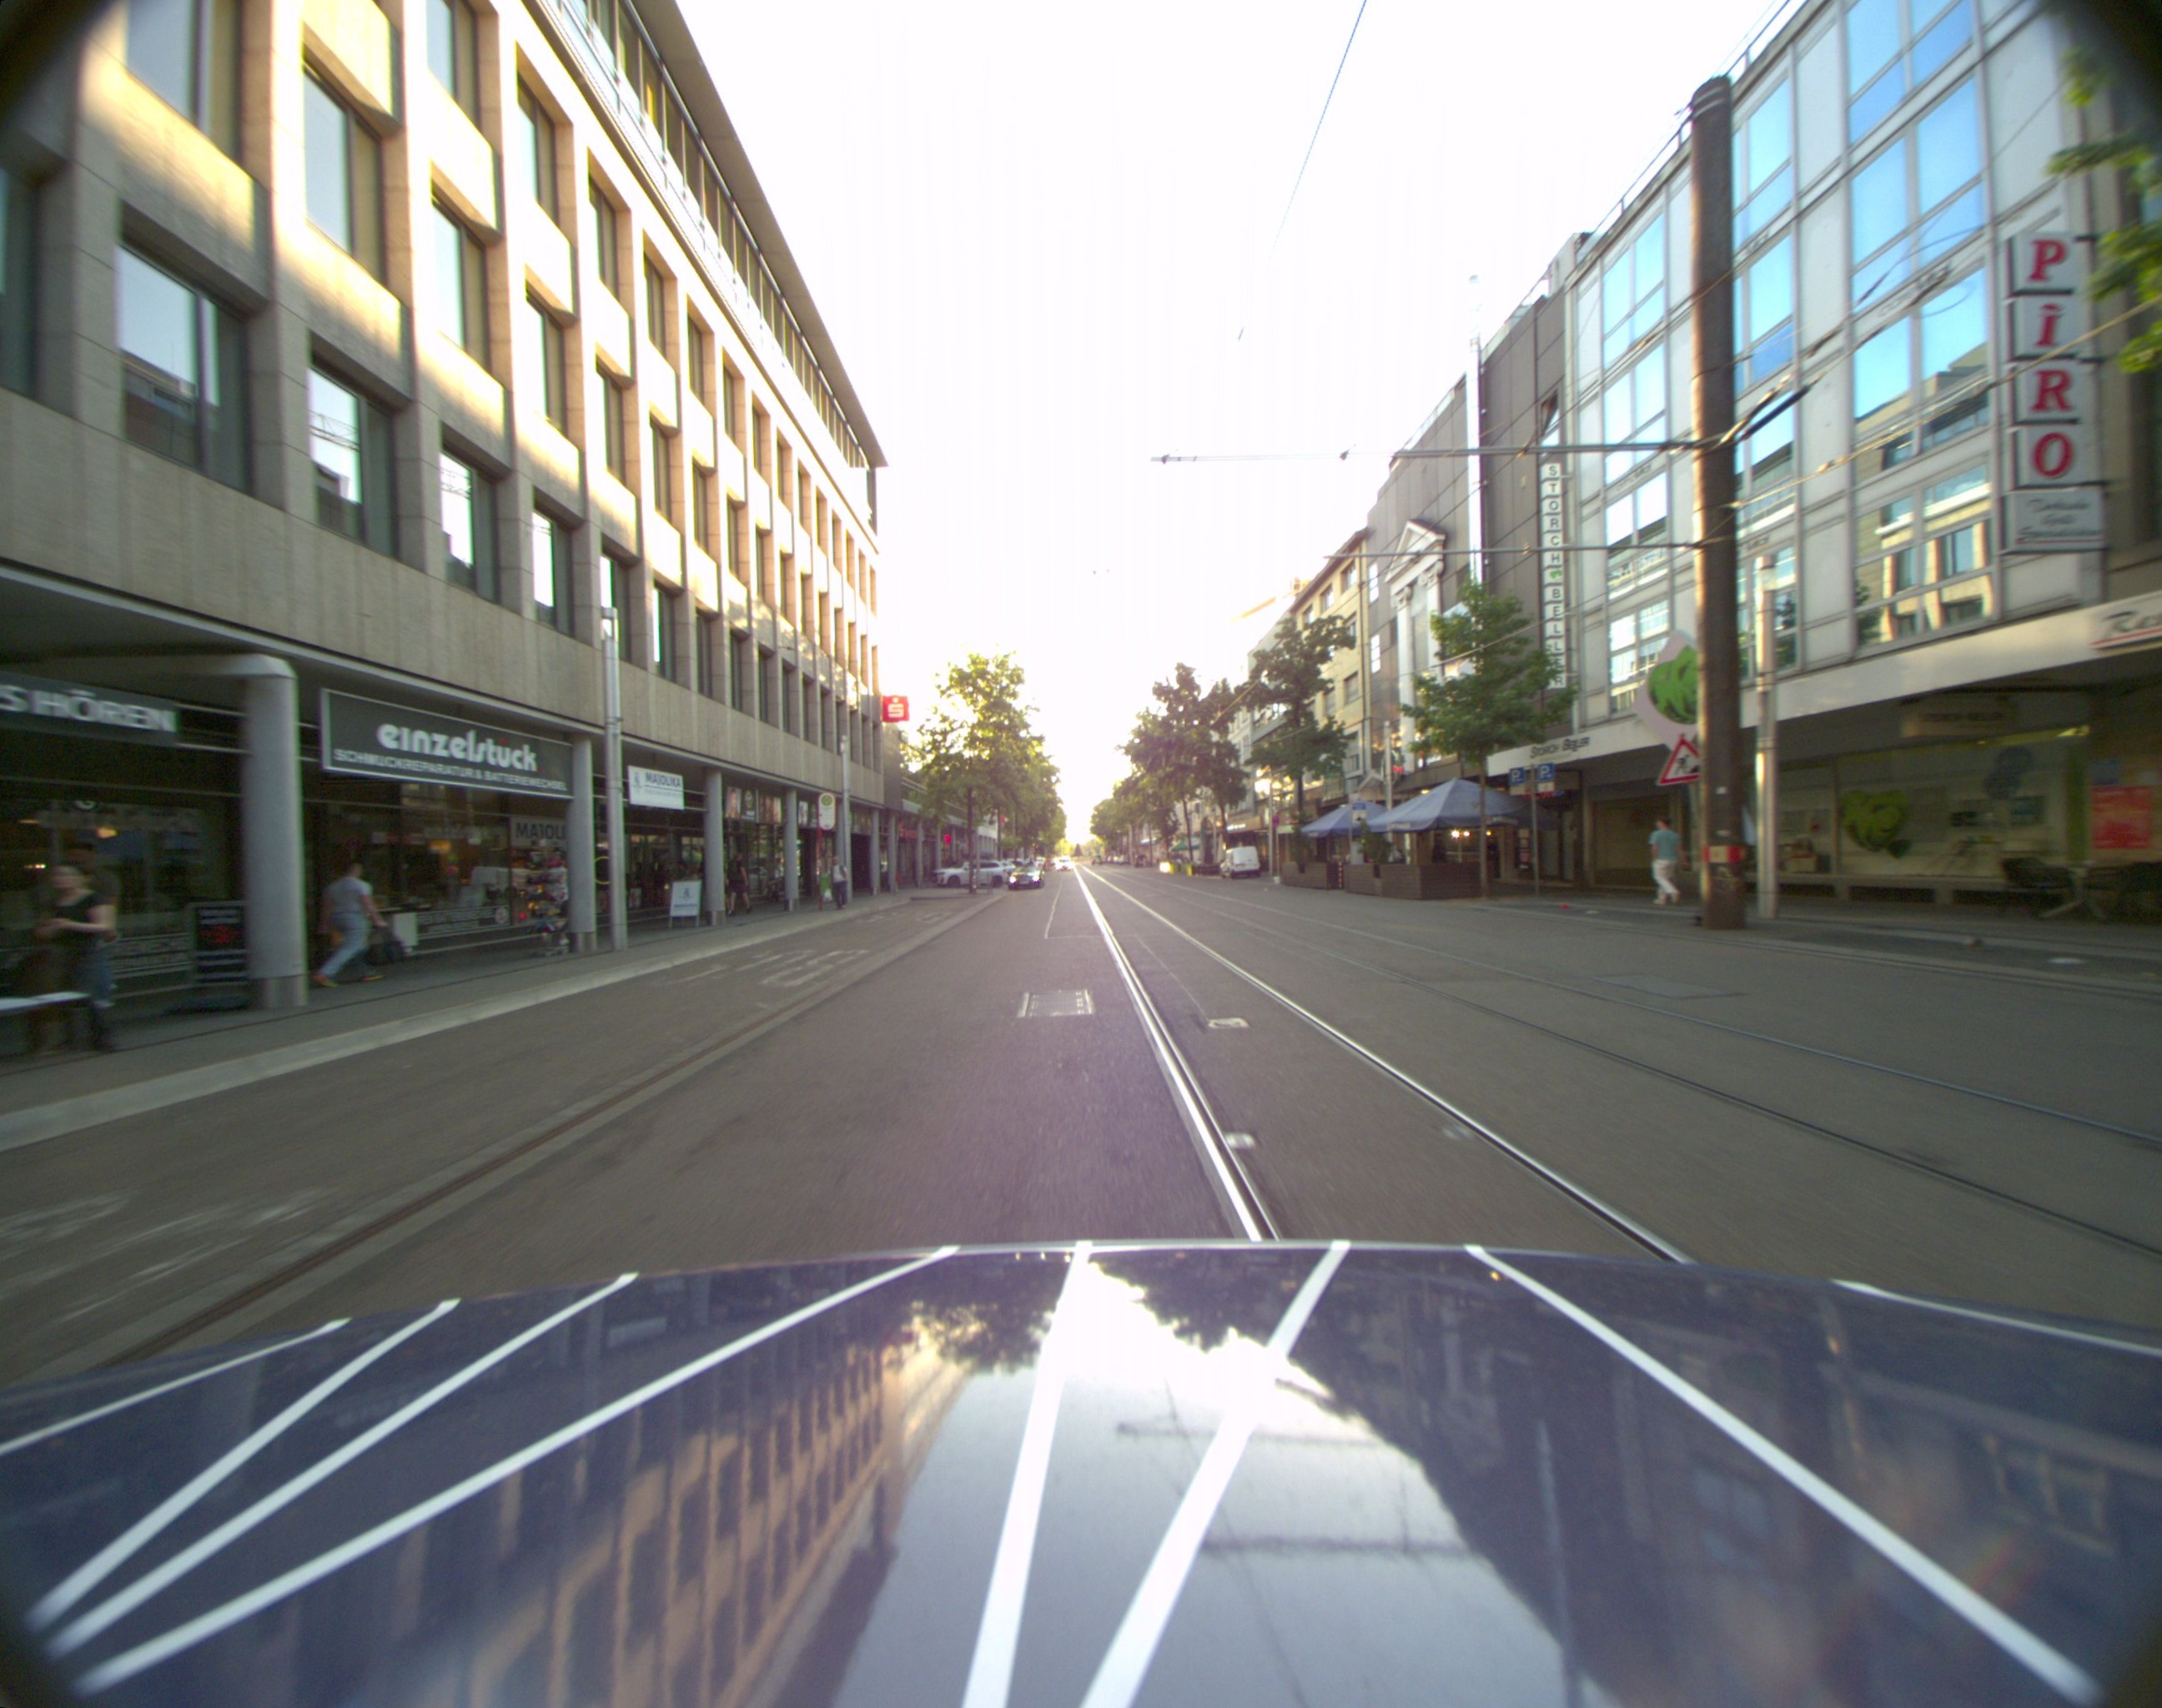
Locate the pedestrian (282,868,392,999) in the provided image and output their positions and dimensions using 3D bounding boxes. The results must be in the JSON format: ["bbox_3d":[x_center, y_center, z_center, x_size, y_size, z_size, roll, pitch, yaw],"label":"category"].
[{"bbox_3d":[-9.810,1.023,10.044,0.689,1.652,0.722,-1,1,1],"label":"pedestrian"}]

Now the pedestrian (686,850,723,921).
[{"bbox_3d":[-10.134,0.835,20.488,0.617,1.878,0.683,-1,1,1],"label":"pedestrian"}]

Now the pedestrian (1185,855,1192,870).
[{"bbox_3d":[9.930,0.749,70.292,0.649,1.378,0.650,-1,0,6],"label":"pedestrian"}]

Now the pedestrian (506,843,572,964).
[{"bbox_3d":[-8.940,0.795,12.563,0.579,1.933,0.655,-1,1,0],"label":"pedestrian"}]

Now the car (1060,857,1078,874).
[{"bbox_3d":[-1.470,1.378,94.234,1.998,2.002,4.000,-1,0,0],"label":"car"}]

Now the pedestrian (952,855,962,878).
[{"bbox_3d":[-9.144,0.899,56.151,0.618,1.681,0.628,-1,1,0],"label":"pedestrian"}]

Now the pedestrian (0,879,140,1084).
[{"bbox_3d":[-8.563,1.000,6.231,0.726,1.561,0.736,-1,1,1],"label":"pedestrian"}]

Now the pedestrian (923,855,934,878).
[{"bbox_3d":[-11.263,0.950,56.074,0.629,1.681,0.556,-1,1,-40],"label":"pedestrian"}]

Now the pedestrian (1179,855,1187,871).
[{"bbox_3d":[8.886,0.819,66.421,0.649,1.378,0.650,-1,0,6],"label":"pedestrian"}]

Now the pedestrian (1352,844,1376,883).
[{"bbox_3d":[11.541,0.372,30.951,0.658,1.543,0.565,-4,1,-2],"label":"pedestrian"}]

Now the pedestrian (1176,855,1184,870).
[{"bbox_3d":[9.313,0.763,71.557,0.649,1.378,0.650,-1,0,6],"label":"pedestrian"}]

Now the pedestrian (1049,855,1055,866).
[{"bbox_3d":[-3.855,0.816,100.014,0.650,1.451,0.649,-2,0,-17],"label":"pedestrian"}]

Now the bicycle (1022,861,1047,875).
[{"bbox_3d":[-3.488,1.069,57.243,1.860,1.067,0.734,-2,0,42],"label":"bicycle"}]

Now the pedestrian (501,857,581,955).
[{"bbox_3d":[-10.165,0.958,14.340,0.846,1.787,0.858,-1,1,0],"label":"pedestrian"}]

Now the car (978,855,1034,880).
[{"bbox_3d":[-6.572,1.177,66.415,4.474,1.869,1.796,-4,1,-37],"label":"car"}]

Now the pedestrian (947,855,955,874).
[{"bbox_3d":[-11.260,0.903,65.654,0.558,1.681,0.628,-1,1,0],"label":"pedestrian"}]

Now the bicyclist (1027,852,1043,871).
[{"bbox_3d":[-3.494,0.598,57.246,0.895,1.406,0.763,-1,0,42],"label":"bicyclist"}]

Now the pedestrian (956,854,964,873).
[{"bbox_3d":[-10.728,0.868,67.437,0.618,1.681,0.628,-1,1,0],"label":"pedestrian"}]

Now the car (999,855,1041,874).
[{"bbox_3d":[-6.595,1.150,81.604,4.004,1.776,1.862,-4,1,-24],"label":"car"}]

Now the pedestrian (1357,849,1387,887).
[{"bbox_3d":[11.205,0.533,29.295,0.766,1.393,0.746,-4,1,-1],"label":"pedestrian"}]

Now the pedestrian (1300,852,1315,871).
[{"bbox_3d":[13.986,0.461,46.832,0.650,1.168,0.650,-2,1,-5],"label":"pedestrian"}]

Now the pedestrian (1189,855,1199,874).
[{"bbox_3d":[8.928,0.829,60.127,0.649,1.451,0.650,-1,0,0],"label":"pedestrian"}]

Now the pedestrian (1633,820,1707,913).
[{"bbox_3d":[11.930,0.235,15.428,0.685,1.782,0.990,-4,1,5],"label":"pedestrian"}]

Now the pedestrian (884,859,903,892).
[{"bbox_3d":[-9.584,1.075,38.792,0.749,1.634,0.741,-1,1,-1],"label":"pedestrian"}]

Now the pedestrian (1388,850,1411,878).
[{"bbox_3d":[13.910,0.443,33.191,0.642,1.150,0.665,-4,1,-3],"label":"pedestrian"}]

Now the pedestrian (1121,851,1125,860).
[{"bbox_3d":[7.683,0.267,138.321,0.650,1.451,0.650,-2,0,-2],"label":"pedestrian"}]

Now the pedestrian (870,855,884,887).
[{"bbox_3d":[-11.575,0.958,43.104,0.558,1.762,0.628,-1,1,0],"label":"pedestrian"}]

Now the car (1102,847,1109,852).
[{"bbox_3d":[7.315,-1.272,227.570,1.799,1.501,4.000,-1,0,0],"label":"car"}]

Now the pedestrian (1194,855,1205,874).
[{"bbox_3d":[9.221,0.824,59.189,0.648,1.451,0.651,-1,1,30],"label":"pedestrian"}]

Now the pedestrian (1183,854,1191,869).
[{"bbox_3d":[9.963,0.738,71.502,0.649,1.378,0.650,-1,0,6],"label":"pedestrian"}]

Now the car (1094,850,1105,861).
[{"bbox_3d":[3.660,0.341,147.519,1.998,2.002,4.000,-1,0,0],"label":"car"}]

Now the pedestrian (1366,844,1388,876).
[{"bbox_3d":[13.872,0.283,35.617,0.662,1.426,0.643,-6,1,0],"label":"pedestrian"}]

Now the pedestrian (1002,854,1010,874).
[{"bbox_3d":[-6.177,0.832,62.600,0.618,1.681,0.628,-2,0,-5],"label":"pedestrian"}]

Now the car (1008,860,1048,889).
[{"bbox_3d":[-2.908,1.101,42.649,1.799,1.400,4.565,-3,0,0],"label":"car"}]

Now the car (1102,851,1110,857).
[{"bbox_3d":[5.881,0.045,179.701,1.799,1.501,4.000,-1,0,0],"label":"car"}]

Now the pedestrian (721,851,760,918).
[{"bbox_3d":[-9.747,0.852,21.757,0.708,1.878,0.796,-1,1,0],"label":"pedestrian"}]

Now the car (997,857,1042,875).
[{"bbox_3d":[-6.232,1.220,76.780,4.005,1.501,1.861,-4,1,-30],"label":"car"}]

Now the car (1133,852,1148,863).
[{"bbox_3d":[8.371,0.496,107.799,1.799,1.501,4.000,-1,0,0],"label":"car"}]

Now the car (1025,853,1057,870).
[{"bbox_3d":[-4.958,0.942,94.342,1.860,1.776,4.007,-4,0,34],"label":"car"}]

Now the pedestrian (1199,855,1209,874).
[{"bbox_3d":[9.724,0.799,59.977,0.649,1.451,0.651,-1,0,17],"label":"pedestrian"}]

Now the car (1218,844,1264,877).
[{"bbox_3d":[9.631,0.384,46.104,1.830,1.811,4.330,-4,0,1],"label":"car"}]

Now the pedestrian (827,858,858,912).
[{"bbox_3d":[-7.244,0.922,23.081,0.670,1.579,0.638,-3,1,-1],"label":"pedestrian"}]

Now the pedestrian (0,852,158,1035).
[{"bbox_3d":[-11.042,0.922,8.267,0.846,1.878,0.899,-1,1,0],"label":"pedestrian"}]

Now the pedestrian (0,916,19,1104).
[{"bbox_3d":[-7.935,1.108,5.132,0.720,1.307,0.524,-2,1,1],"label":"pedestrian"}]

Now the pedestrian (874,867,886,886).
[{"bbox_3d":[-11.671,1.305,44.151,0.628,1.030,0.558,-1,1,-9],"label":"pedestrian"}]

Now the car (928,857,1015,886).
[{"bbox_3d":[-6.406,1.059,44.625,4.646,1.619,1.914,1,-2,-32],"label":"car"}]

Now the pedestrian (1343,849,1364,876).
[{"bbox_3d":[13.299,0.405,37.100,0.642,1.221,0.665,-6,1,-2],"label":"pedestrian"}]

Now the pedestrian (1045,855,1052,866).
[{"bbox_3d":[-4.156,0.848,97.426,0.650,1.451,0.649,-2,0,-17],"label":"pedestrian"}]

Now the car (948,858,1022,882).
[{"bbox_3d":[-6.530,1.052,51.957,4.646,1.578,1.913,1,0,-35],"label":"car"}]

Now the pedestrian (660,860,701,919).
[{"bbox_3d":[-11.387,0.991,21.605,0.712,1.634,0.818,-1,1,-1],"label":"pedestrian"}]

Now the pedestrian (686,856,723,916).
[{"bbox_3d":[-11.377,0.953,22.998,0.675,1.762,0.863,-1,1,-1],"label":"pedestrian"}]
